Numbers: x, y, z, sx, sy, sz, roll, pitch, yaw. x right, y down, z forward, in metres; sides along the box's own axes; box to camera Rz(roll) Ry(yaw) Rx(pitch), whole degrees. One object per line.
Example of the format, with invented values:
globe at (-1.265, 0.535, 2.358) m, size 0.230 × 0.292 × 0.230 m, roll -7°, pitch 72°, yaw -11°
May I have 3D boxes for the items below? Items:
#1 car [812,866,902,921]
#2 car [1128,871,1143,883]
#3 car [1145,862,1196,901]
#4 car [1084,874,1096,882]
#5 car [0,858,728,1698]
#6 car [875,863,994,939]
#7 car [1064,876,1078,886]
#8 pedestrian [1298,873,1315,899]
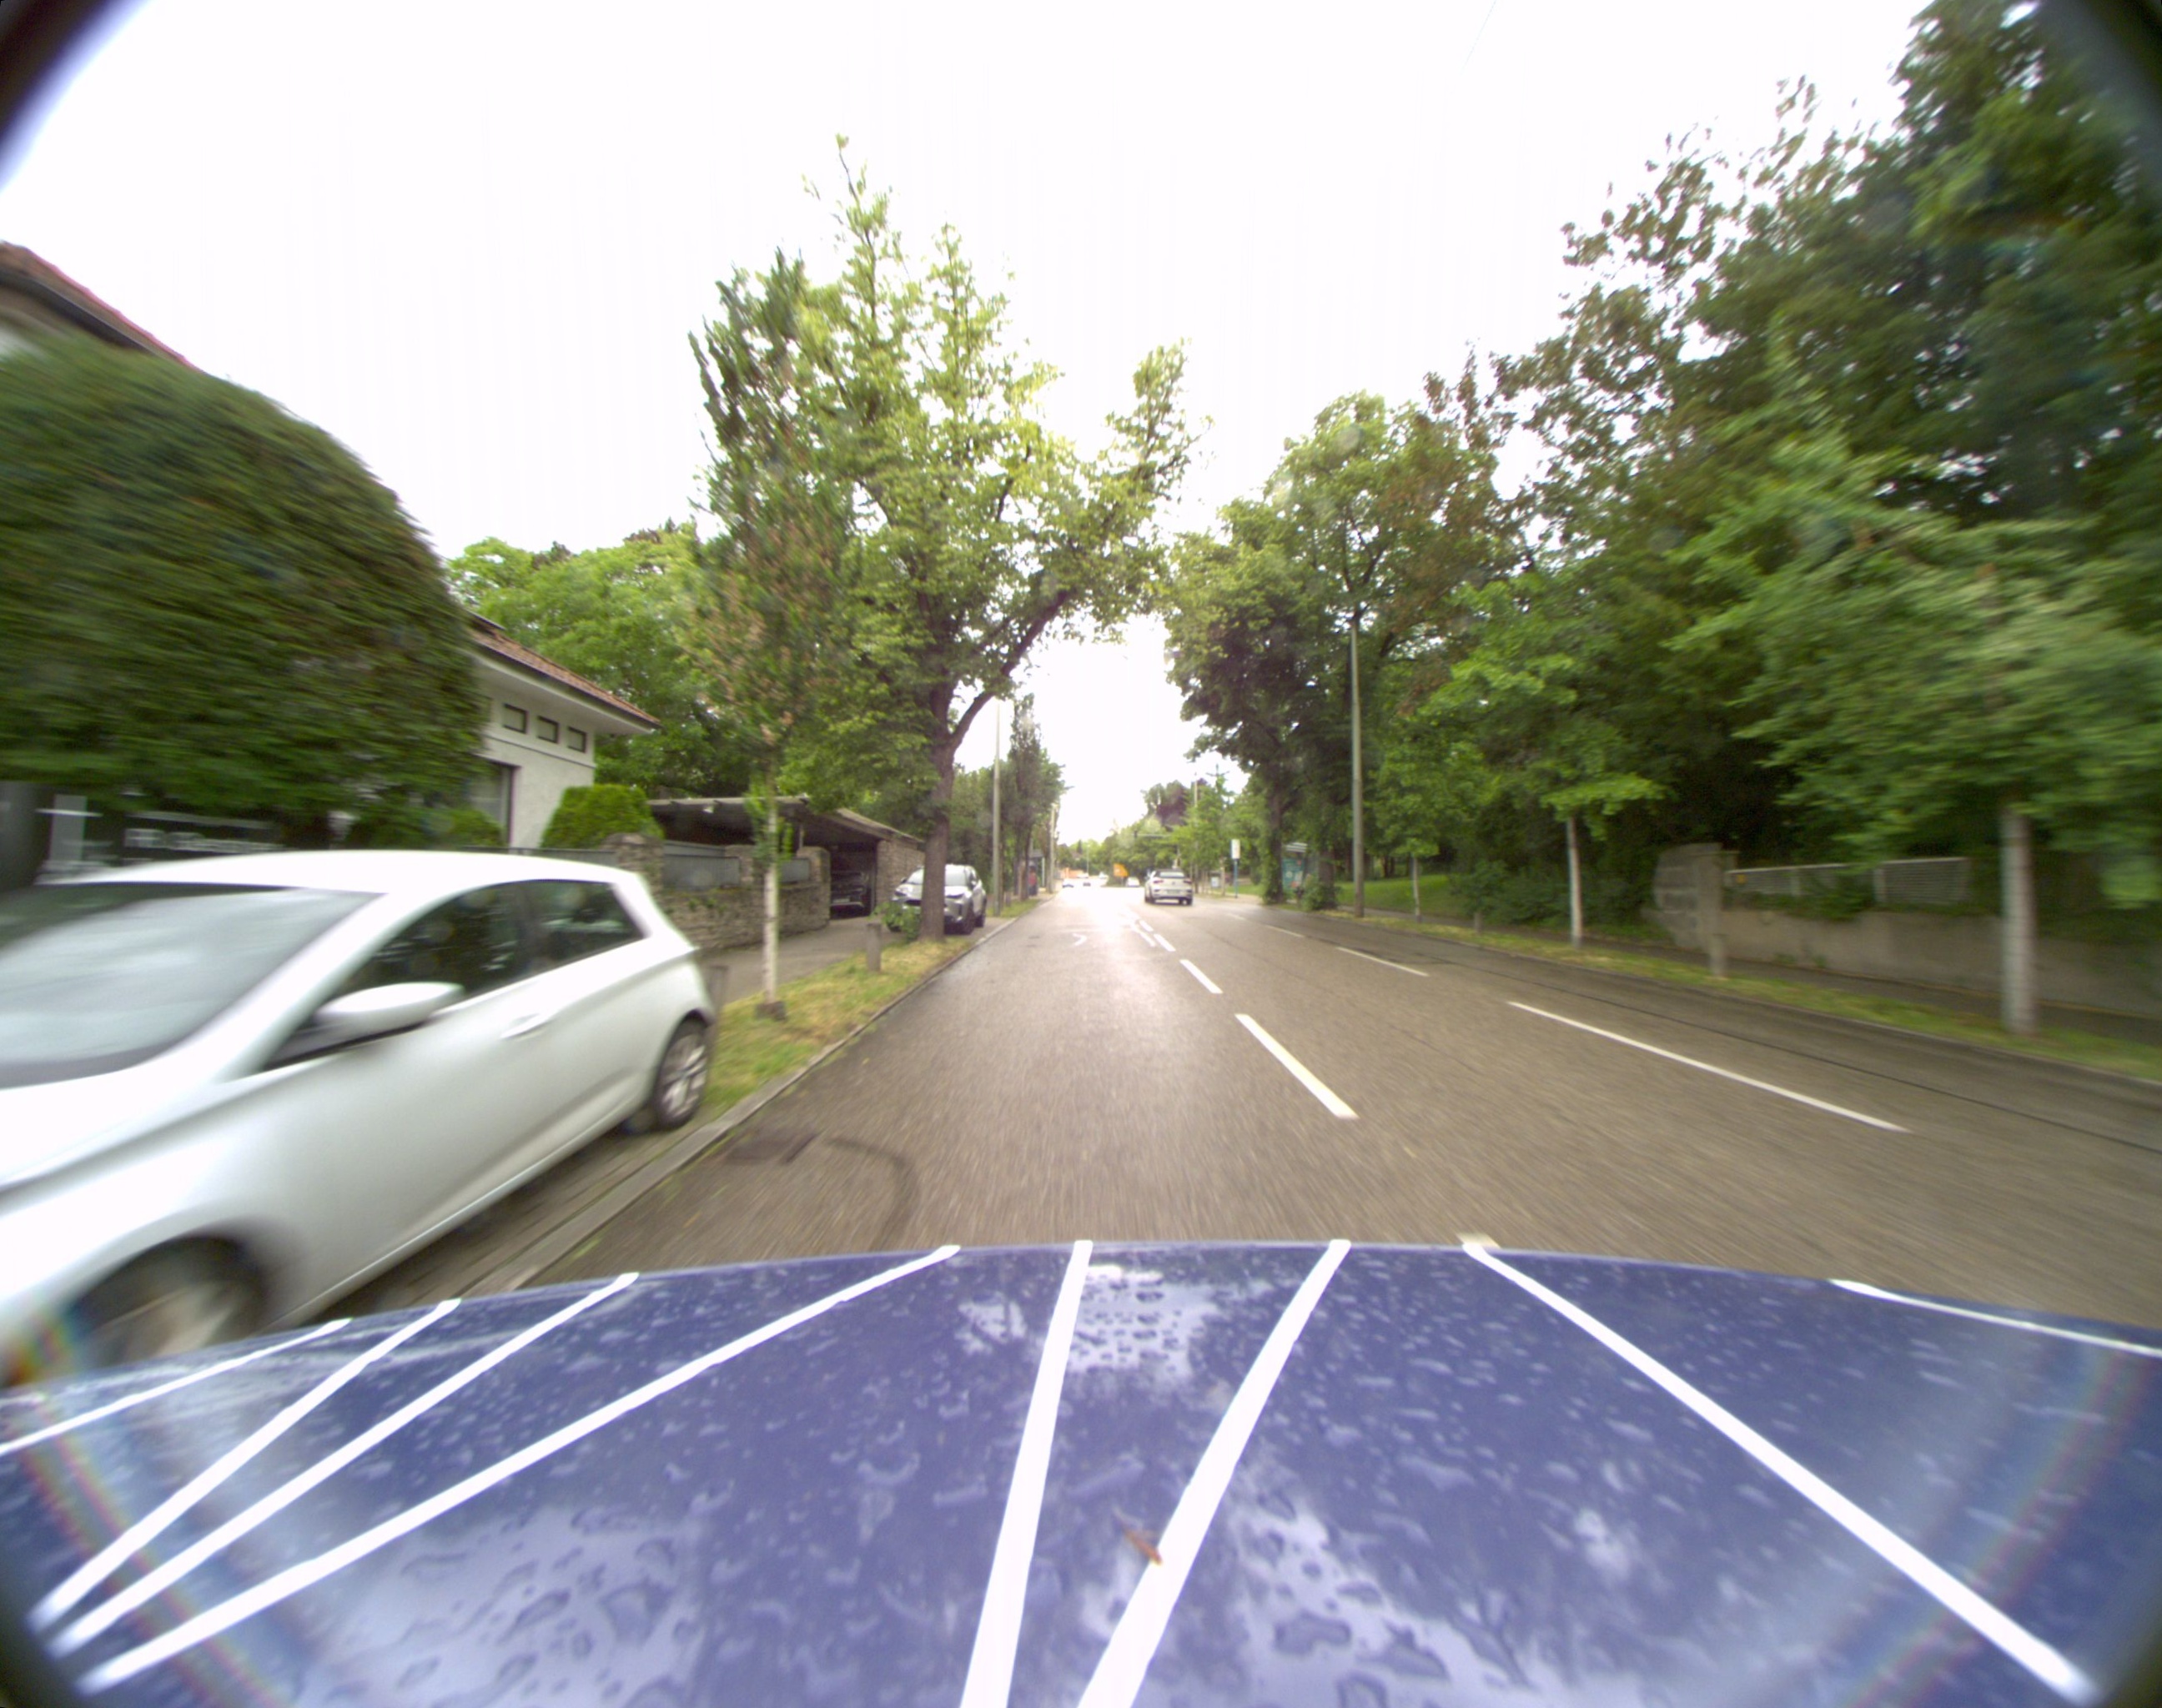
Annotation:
car at (-7.276, 1.280, 25.126) m, size 1.601 × 1.521 × 4.155 m, roll -4°, pitch -2°, yaw 0°
car at (7.596, 3.200, 105.869) m, size 1.876 × 1.539 × 4.001 m, roll 2°, pitch -1°, yaw 1°
car at (3.857, 1.156, 33.352) m, size 1.798 × 1.500 × 4.093 m, roll -1°, pitch 0°, yaw 0°
car at (2.045, 5.438, 171.262) m, size 1.878 × 1.540 × 3.996 m, roll 2°, pitch 0°, yaw -10°
car at (-3.075, 0.854, 2.676) m, size 1.829 × 1.620 × 3.999 m, roll 2°, pitch 0°, yaw -1°
car at (-3.344, 1.065, 18.165) m, size 1.923 × 1.557 × 4.221 m, roll 2°, pitch -2°, yaw 1°
car at (-1.750, 4.666, 131.323) m, size 1.998 × 1.673 × 4.002 m, roll -3°, pitch -1°, yaw 3°
pedestrian at (11.920, 1.689, 40.179) m, size 0.777 × 1.293 × 0.745 m, roll -2°, pitch -1°, yaw 8°
